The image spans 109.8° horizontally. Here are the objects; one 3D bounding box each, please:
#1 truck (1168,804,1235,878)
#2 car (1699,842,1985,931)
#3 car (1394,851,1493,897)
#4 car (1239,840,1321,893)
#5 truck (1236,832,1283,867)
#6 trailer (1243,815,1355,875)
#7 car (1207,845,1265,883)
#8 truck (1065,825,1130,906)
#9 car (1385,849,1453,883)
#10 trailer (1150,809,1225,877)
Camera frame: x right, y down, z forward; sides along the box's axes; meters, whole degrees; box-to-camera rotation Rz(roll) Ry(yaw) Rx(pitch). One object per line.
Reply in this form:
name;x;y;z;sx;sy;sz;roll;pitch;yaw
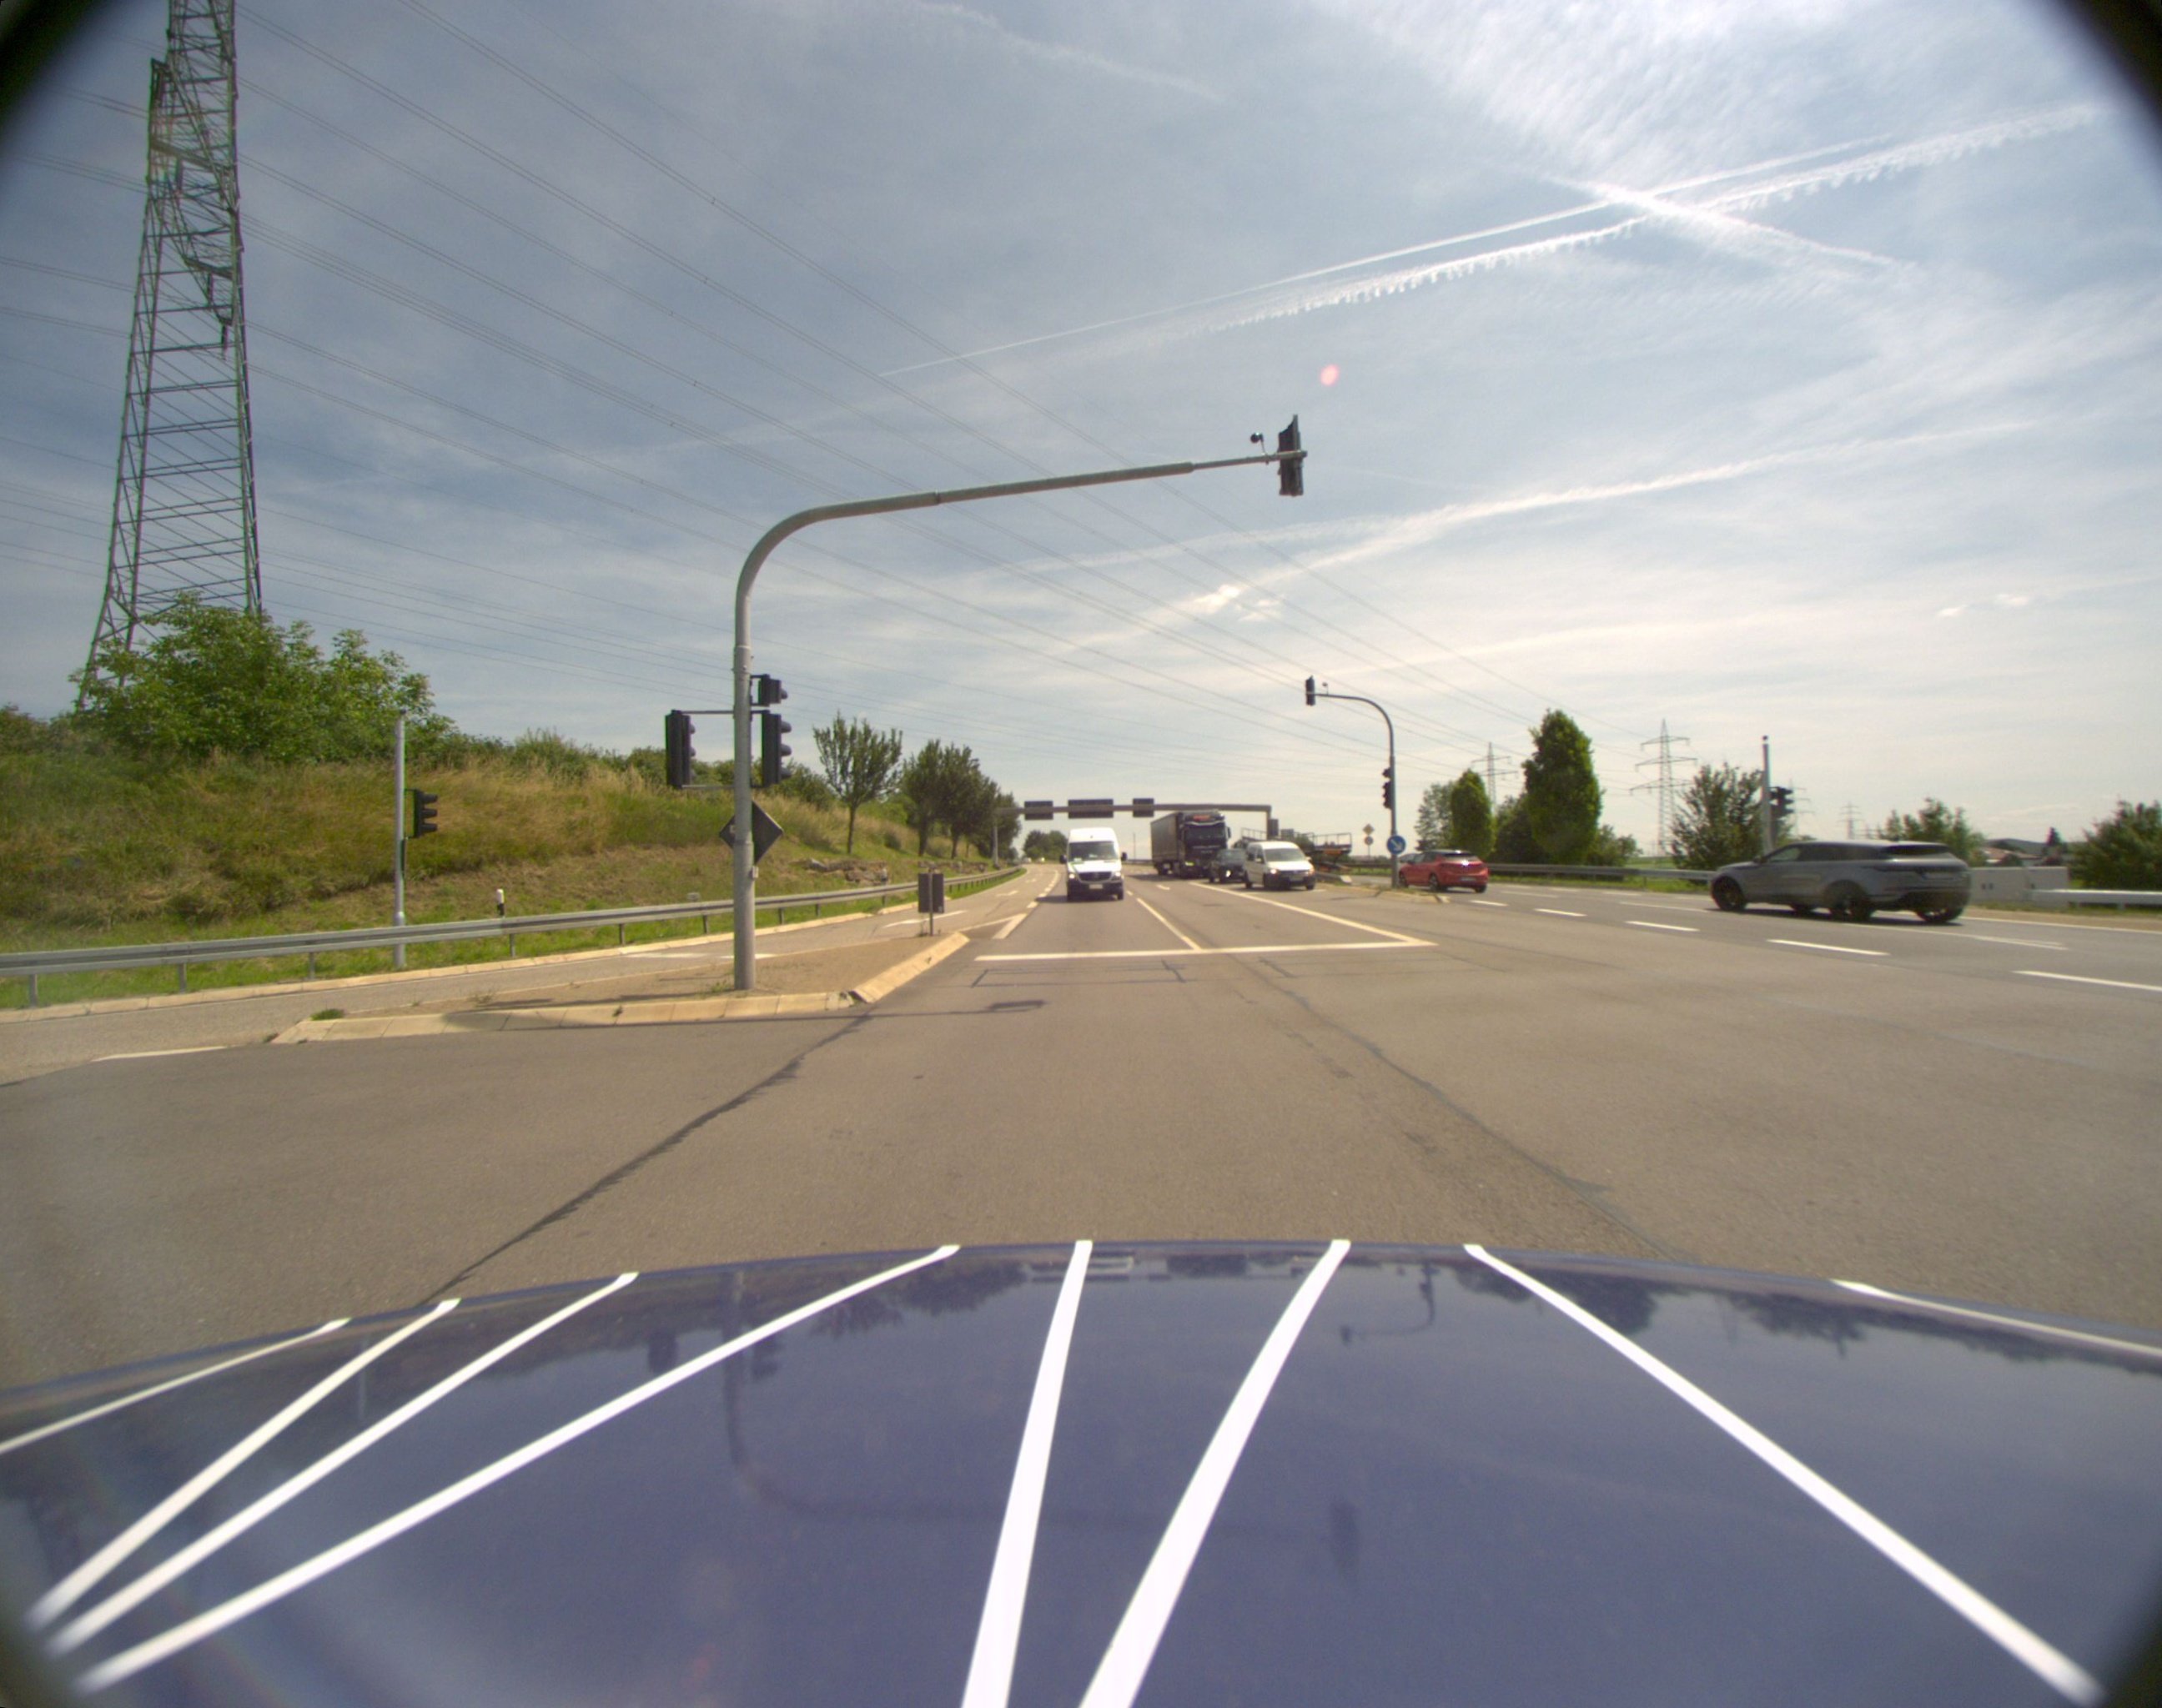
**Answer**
truck;7.067;-0.734;45.241;2.790;3.990;5.969;-3;1;-1
car;15.595;0.558;15.973;1.648;1.614;4.327;0;1;0
car;12.572;0.637;26.647;1.648;1.488;4.066;0;0;2
car;7.486;0.429;29.093;1.772;1.788;4.751;-2;0;-1
truck;15.824;-0.430;67.817;2.806;2.996;5.988;-1;1;0
trailer;15.905;-0.688;57.905;2.646;3.741;19.794;-1;1;0
car;7.383;0.449;36.670;1.860;1.648;4.348;-2;0;0
truck;0.505;0.356;26.815;1.999;2.518;5.104;-2;0;0
car;15.985;0.545;36.092;1.648;1.488;3.801;0;1;2
trailer;6.955;-0.701;51.992;2.790;3.891;13.784;-2;0;-1
